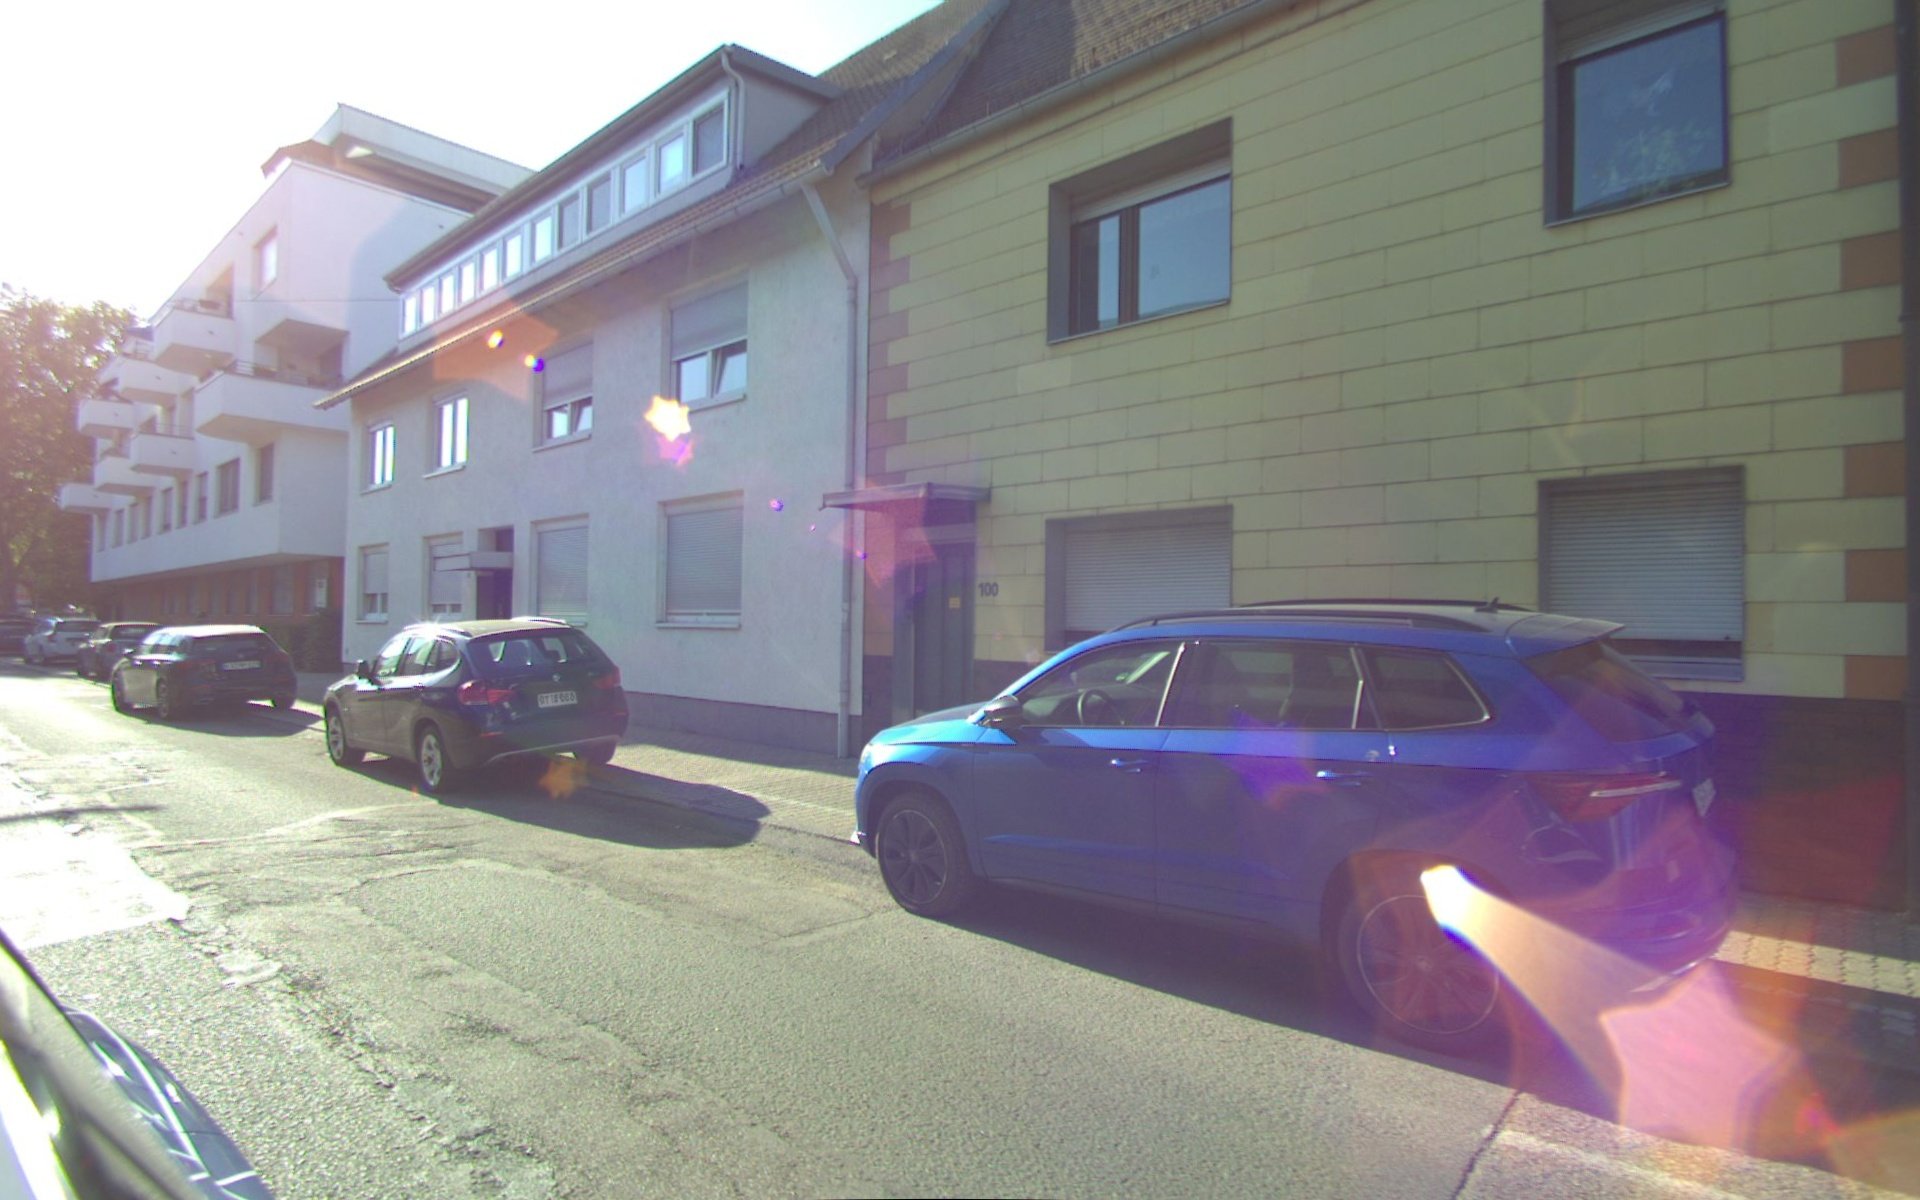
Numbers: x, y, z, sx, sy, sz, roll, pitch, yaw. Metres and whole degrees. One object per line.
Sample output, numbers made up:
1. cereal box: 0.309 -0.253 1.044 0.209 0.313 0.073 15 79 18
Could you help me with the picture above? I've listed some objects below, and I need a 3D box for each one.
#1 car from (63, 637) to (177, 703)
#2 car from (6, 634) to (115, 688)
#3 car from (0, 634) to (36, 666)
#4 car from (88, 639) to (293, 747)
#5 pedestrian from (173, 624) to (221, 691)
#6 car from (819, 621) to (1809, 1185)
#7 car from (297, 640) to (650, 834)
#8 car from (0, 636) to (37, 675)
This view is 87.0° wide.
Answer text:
1. car: -22.143 1.781 26.624 3.854 1.547 1.650 -1 -2 40
2. car: -29.304 1.921 32.925 4.615 1.599 1.840 -1 -2 38
3. car: -51.967 2.644 53.793 1.683 1.675 3.944 0 -2 12
4. car: -13.054 1.462 17.091 4.328 1.547 1.668 -1 -2 38
5. pedestrian: -21.692 1.613 28.783 0.849 1.832 1.135 -1 -1 -25
6. car: 1.377 0.972 4.963 4.190 1.599 1.790 -3 -3 41
7. car: -5.238 1.248 10.629 4.334 1.599 1.838 -3 -3 42
8. car: -38.215 2.172 40.274 3.767 1.444 1.658 -1 -2 40
